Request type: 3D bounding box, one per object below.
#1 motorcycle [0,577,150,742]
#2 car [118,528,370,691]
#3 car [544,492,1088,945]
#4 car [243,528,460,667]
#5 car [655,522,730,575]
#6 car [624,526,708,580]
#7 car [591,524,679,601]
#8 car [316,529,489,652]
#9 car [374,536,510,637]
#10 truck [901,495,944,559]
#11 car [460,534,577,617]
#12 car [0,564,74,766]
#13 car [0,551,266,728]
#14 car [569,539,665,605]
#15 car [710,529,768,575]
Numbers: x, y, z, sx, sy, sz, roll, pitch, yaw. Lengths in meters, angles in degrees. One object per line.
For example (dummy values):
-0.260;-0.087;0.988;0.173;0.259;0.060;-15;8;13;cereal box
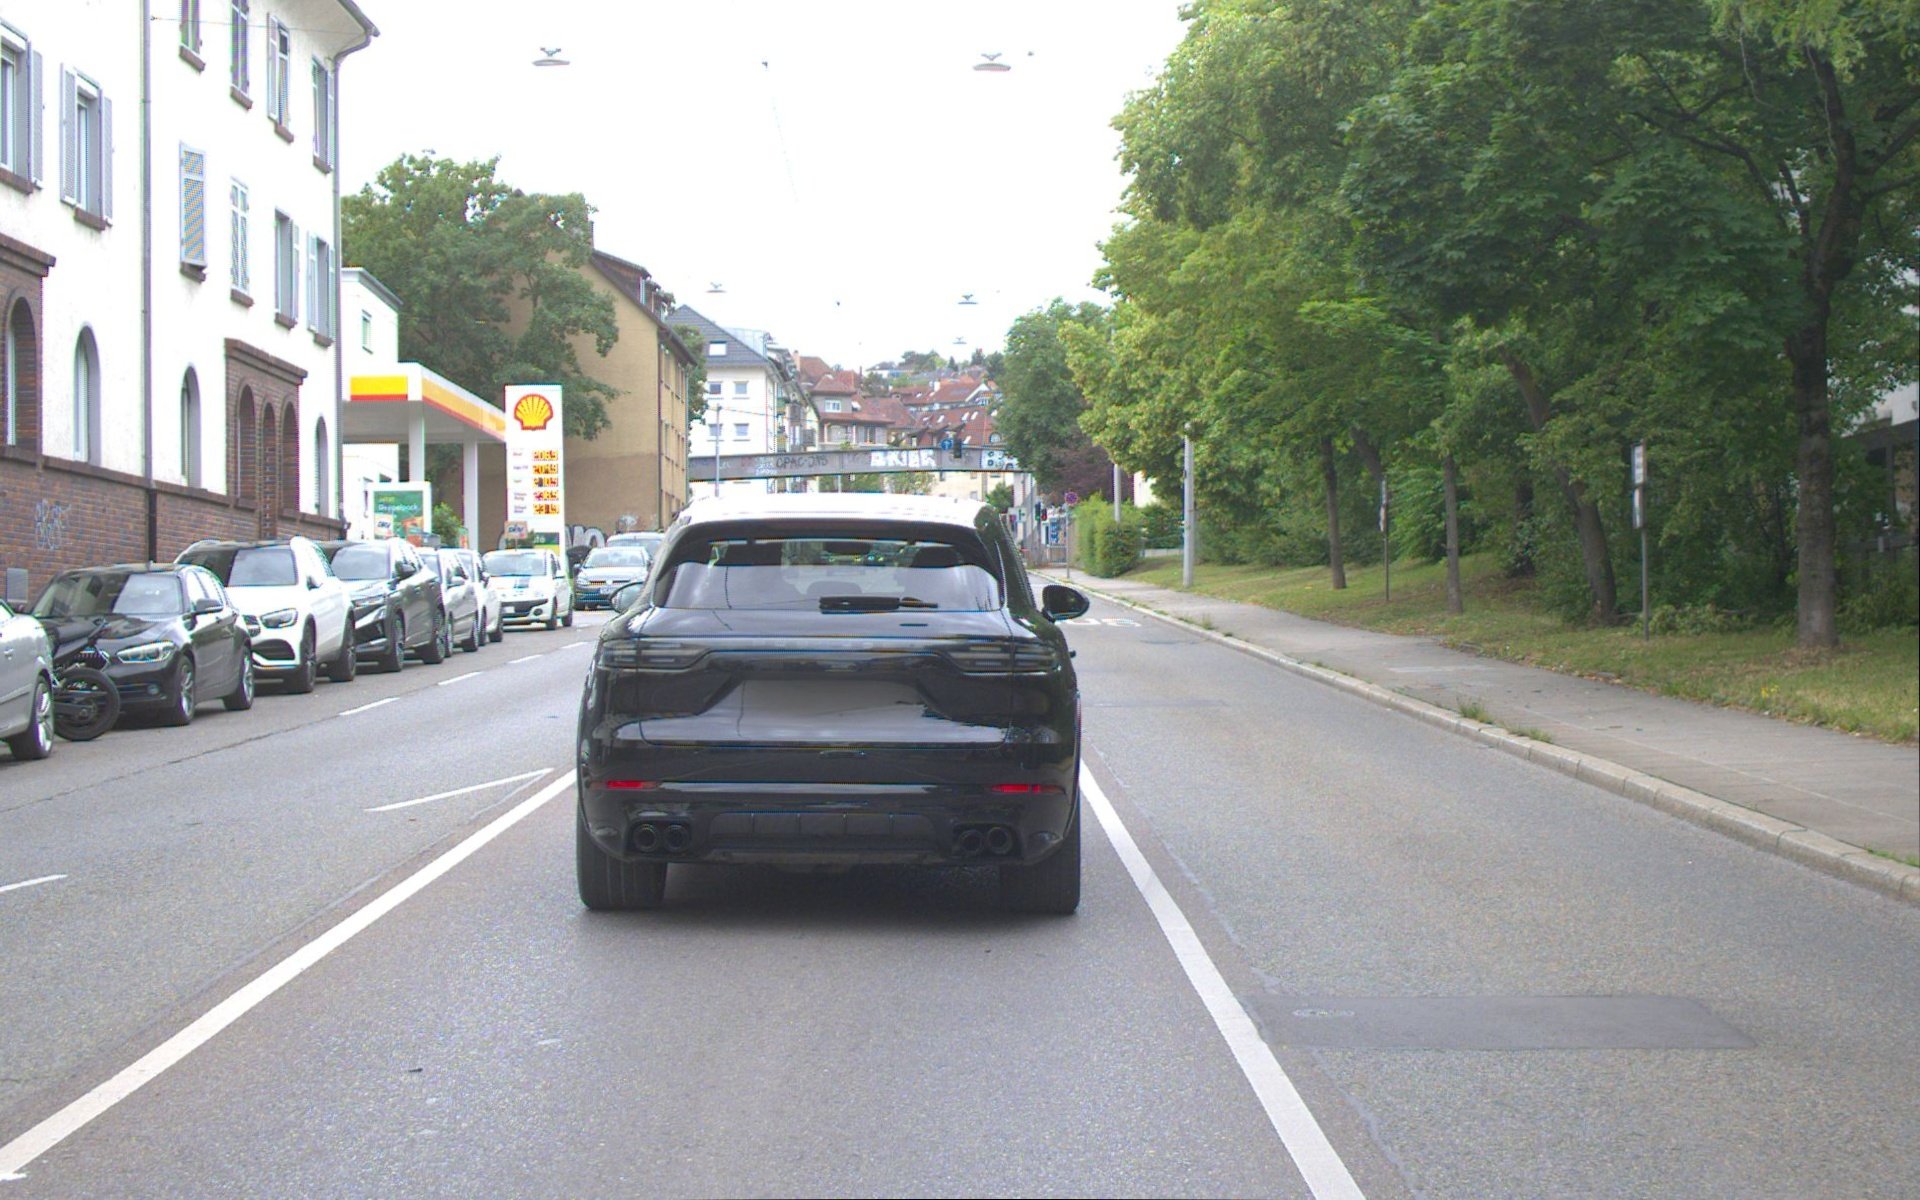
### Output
-7.564;0.490;27.405;2.039;1.231;0.808;-3;2;-18;motorcycle
-7.698;0.051;37.380;1.845;1.615;4.644;-1;1;-1;car
-0.530;0.381;14.622;1.993;1.656;4.000;0;2;0;car
-7.480;-0.077;42.644;1.727;1.593;4.501;-1;1;2;car
-8.263;-1.612;106.499;1.915;1.572;4.700;-1;1;0;car
-8.285;-1.340;97.155;1.798;1.426;4.743;-1;1;2;car
-8.094;-0.952;85.962;1.851;1.829;4.702;-2;1;-2;car
-7.707;-0.156;47.831;1.727;1.553;4.082;-3;1;-1;car
-7.913;-0.234;52.763;1.547;1.470;3.604;-1;1;-1;car
-2.050;-3.960;188.941;2.266;3.412;9.879;0;1;-1;truck
-7.938;-0.468;62.075;1.619;1.420;3.665;-1;1;0;car
-7.511;0.476;23.798;1.727;1.369;4.338;-1;1;-2;car
-7.554;0.305;31.066;1.727;1.424;4.192;-1;1;-1;car
-7.972;-0.668;80.188;1.790;1.445;4.218;-1;1;0;car
-8.232;-1.791;128.379;1.783;1.603;4.264;-3;1;1;car
